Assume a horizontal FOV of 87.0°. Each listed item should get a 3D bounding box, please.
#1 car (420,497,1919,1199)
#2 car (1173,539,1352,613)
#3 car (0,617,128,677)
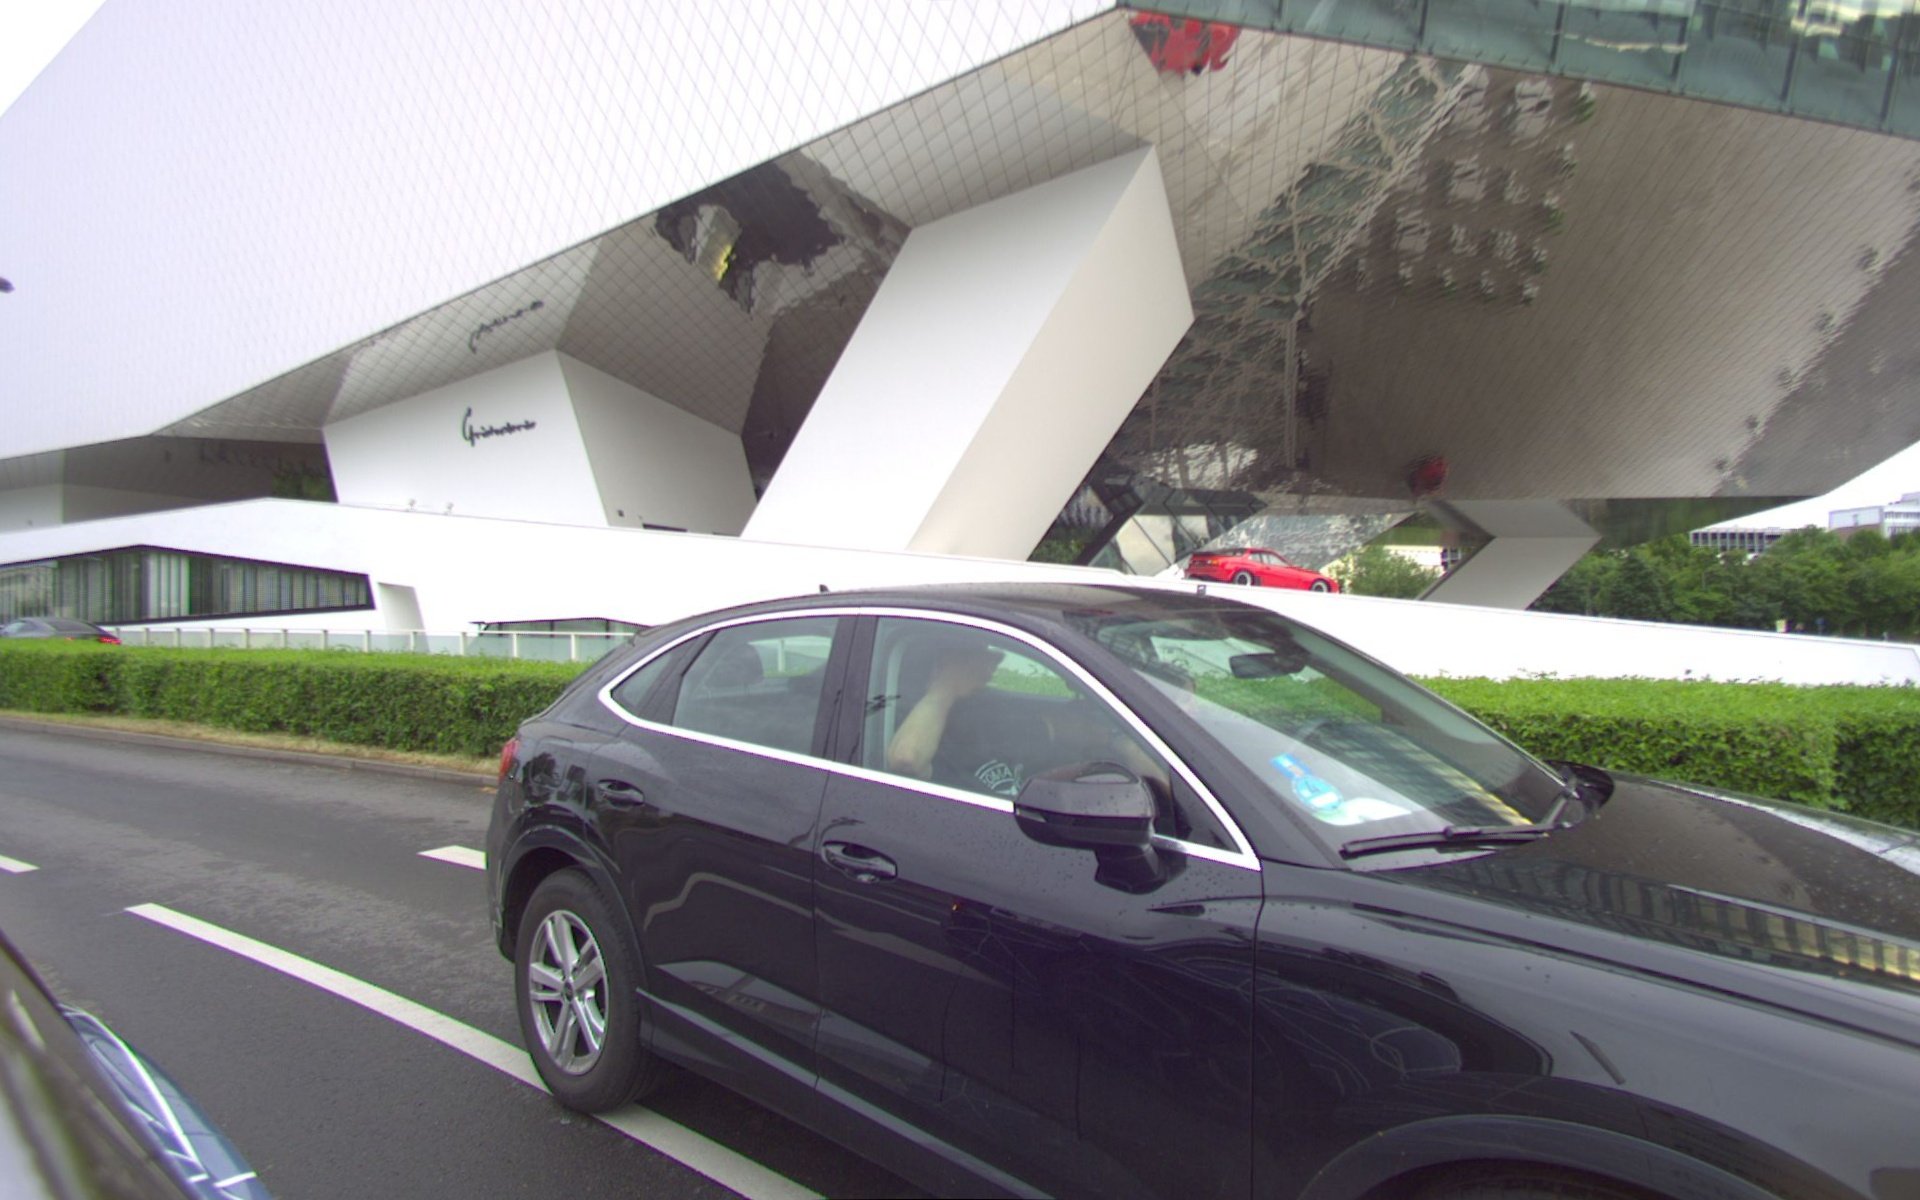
[{"bbox_3d":[0.381,0.677,2.676,4.392,1.529,1.734,-1,0,41],"label":"car"},{"bbox_3d":[8.253,-0.607,27.711,4.175,1.395,2.006,7,-4,-16],"label":"car"},{"bbox_3d":[-22.871,1.134,25.327,3.979,1.347,1.710,-1,0,26],"label":"car"}]
